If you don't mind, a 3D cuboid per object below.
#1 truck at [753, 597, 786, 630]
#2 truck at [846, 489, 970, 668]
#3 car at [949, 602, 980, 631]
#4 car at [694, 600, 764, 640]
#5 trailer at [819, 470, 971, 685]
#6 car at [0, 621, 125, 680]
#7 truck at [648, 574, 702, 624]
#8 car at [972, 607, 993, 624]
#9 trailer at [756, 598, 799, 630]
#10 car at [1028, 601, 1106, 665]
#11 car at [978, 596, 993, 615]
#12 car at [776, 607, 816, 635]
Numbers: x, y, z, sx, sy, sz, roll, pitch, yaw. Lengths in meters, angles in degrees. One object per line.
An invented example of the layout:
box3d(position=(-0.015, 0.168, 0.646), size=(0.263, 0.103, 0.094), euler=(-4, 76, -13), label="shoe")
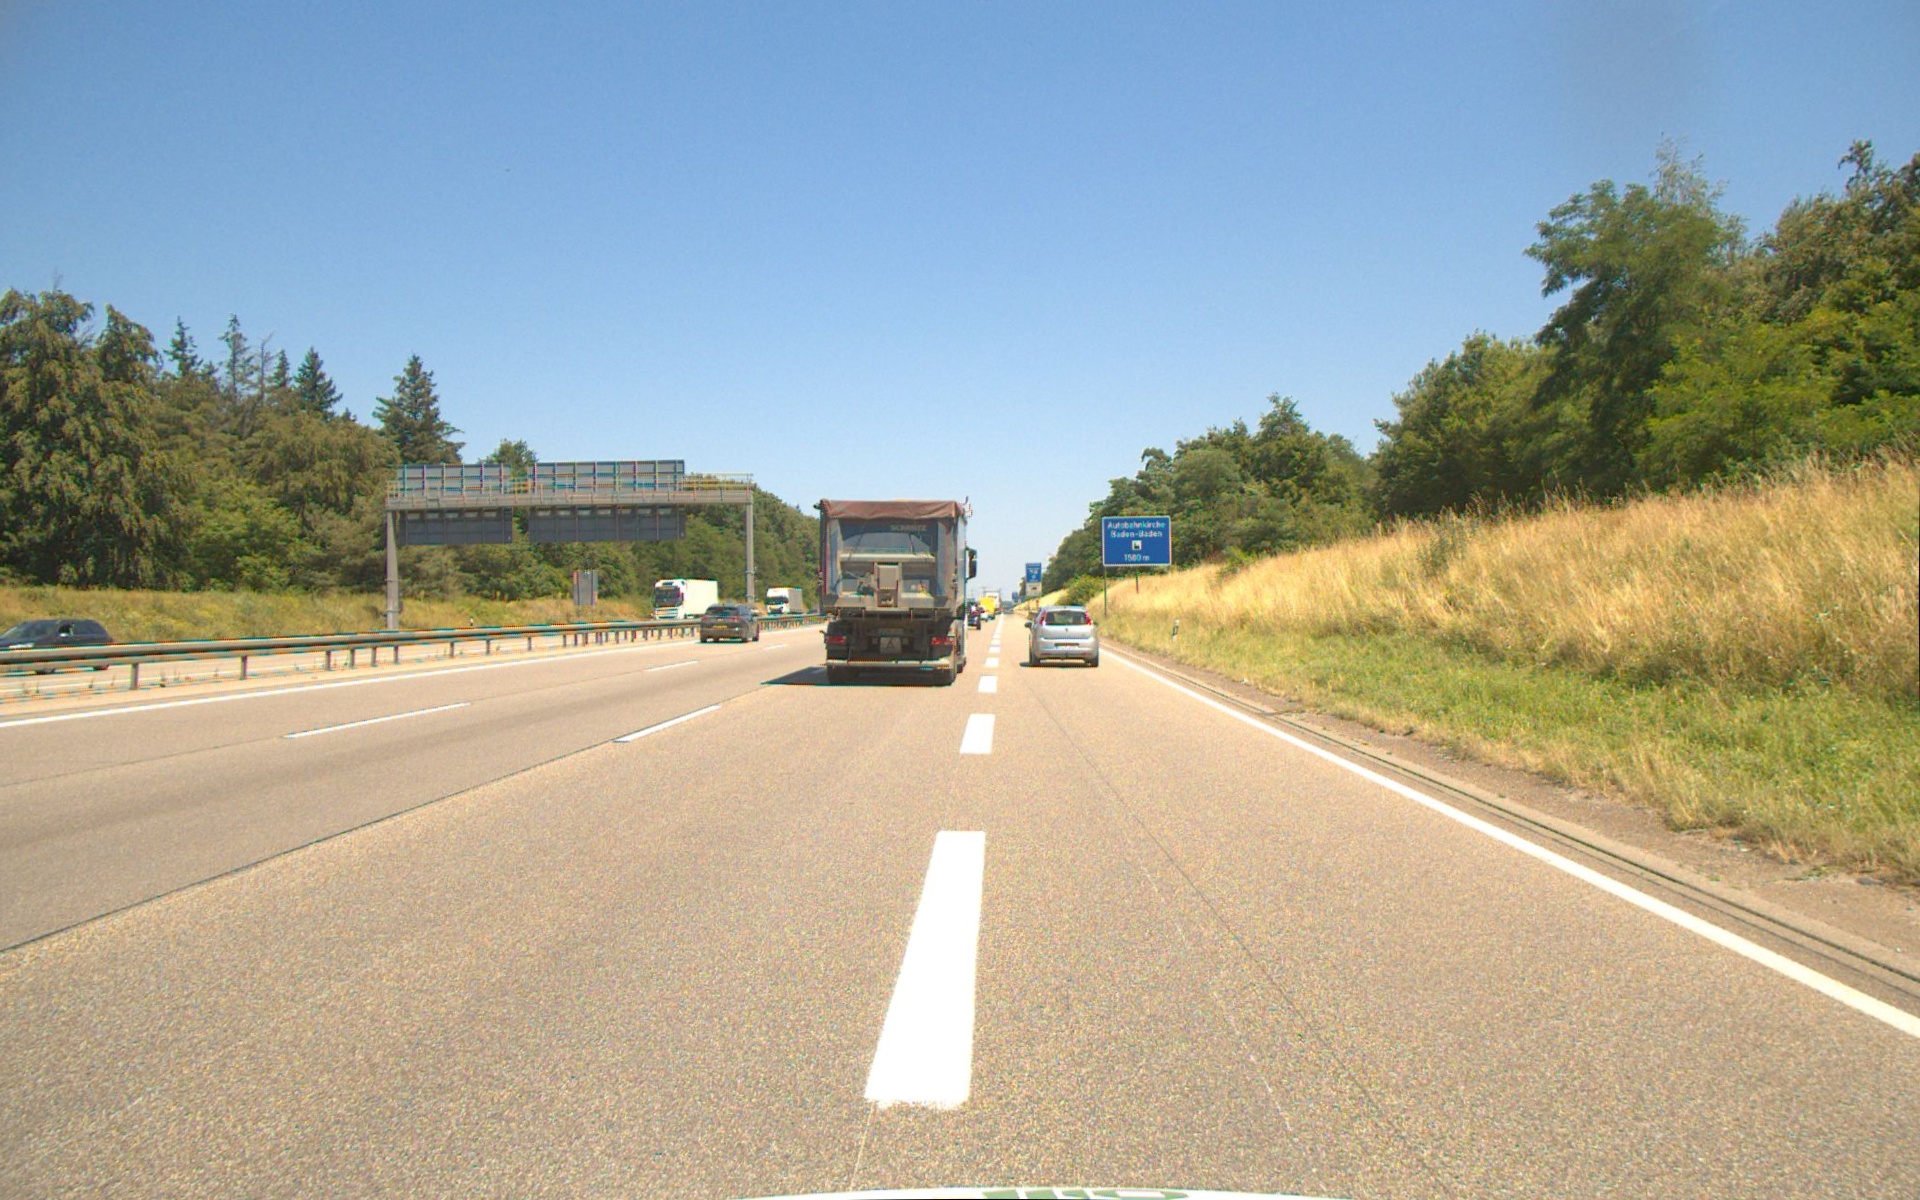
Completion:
box3d(position=(-23.392, 1.671, 203.485), size=(3.102, 4.000, 5.402), euler=(0, -1, 3), label="truck")
box3d(position=(-1.092, -0.455, 38.387), size=(2.629, 3.824, 5.944), euler=(0, 0, 0), label="truck")
box3d(position=(0.299, 1.015, 100.363), size=(1.794, 1.701, 4.000), euler=(1, -1, 1), label="car")
box3d(position=(-8.721, 0.734, 62.836), size=(1.794, 1.457, 5.000), euler=(0, 0, 2), label="car")
box3d(position=(-1.132, -0.409, 33.977), size=(2.680, 3.824, 9.109), euler=(0, 0, 0), label="trailer")
box3d(position=(-25.598, 1.386, 46.524), size=(1.789, 1.536, 4.743), euler=(-1, 0, 1), label="car")
box3d(position=(-23.870, -0.025, 138.690), size=(3.147, 4.088, 6.217), euler=(0, 0, 3), label="truck")
box3d(position=(2.040, 1.425, 149.404), size=(1.783, 1.518, 3.738), euler=(1, -1, 3), label="car")
box3d(position=(-23.044, 1.772, 209.827), size=(3.102, 4.000, 13.968), euler=(0, -1, 3), label="trailer")
box3d(position=(2.667, 0.793, 41.759), size=(1.684, 1.518, 3.736), euler=(1, 0, -1), label="car")
box3d(position=(2.738, 0.630, 179.140), size=(1.578, 2.049, 4.000), euler=(1, 0, 0), label="car")
box3d(position=(-9.049, 1.148, 91.623), size=(1.668, 1.500, 4.597), euler=(0, 0, 1), label="car")
